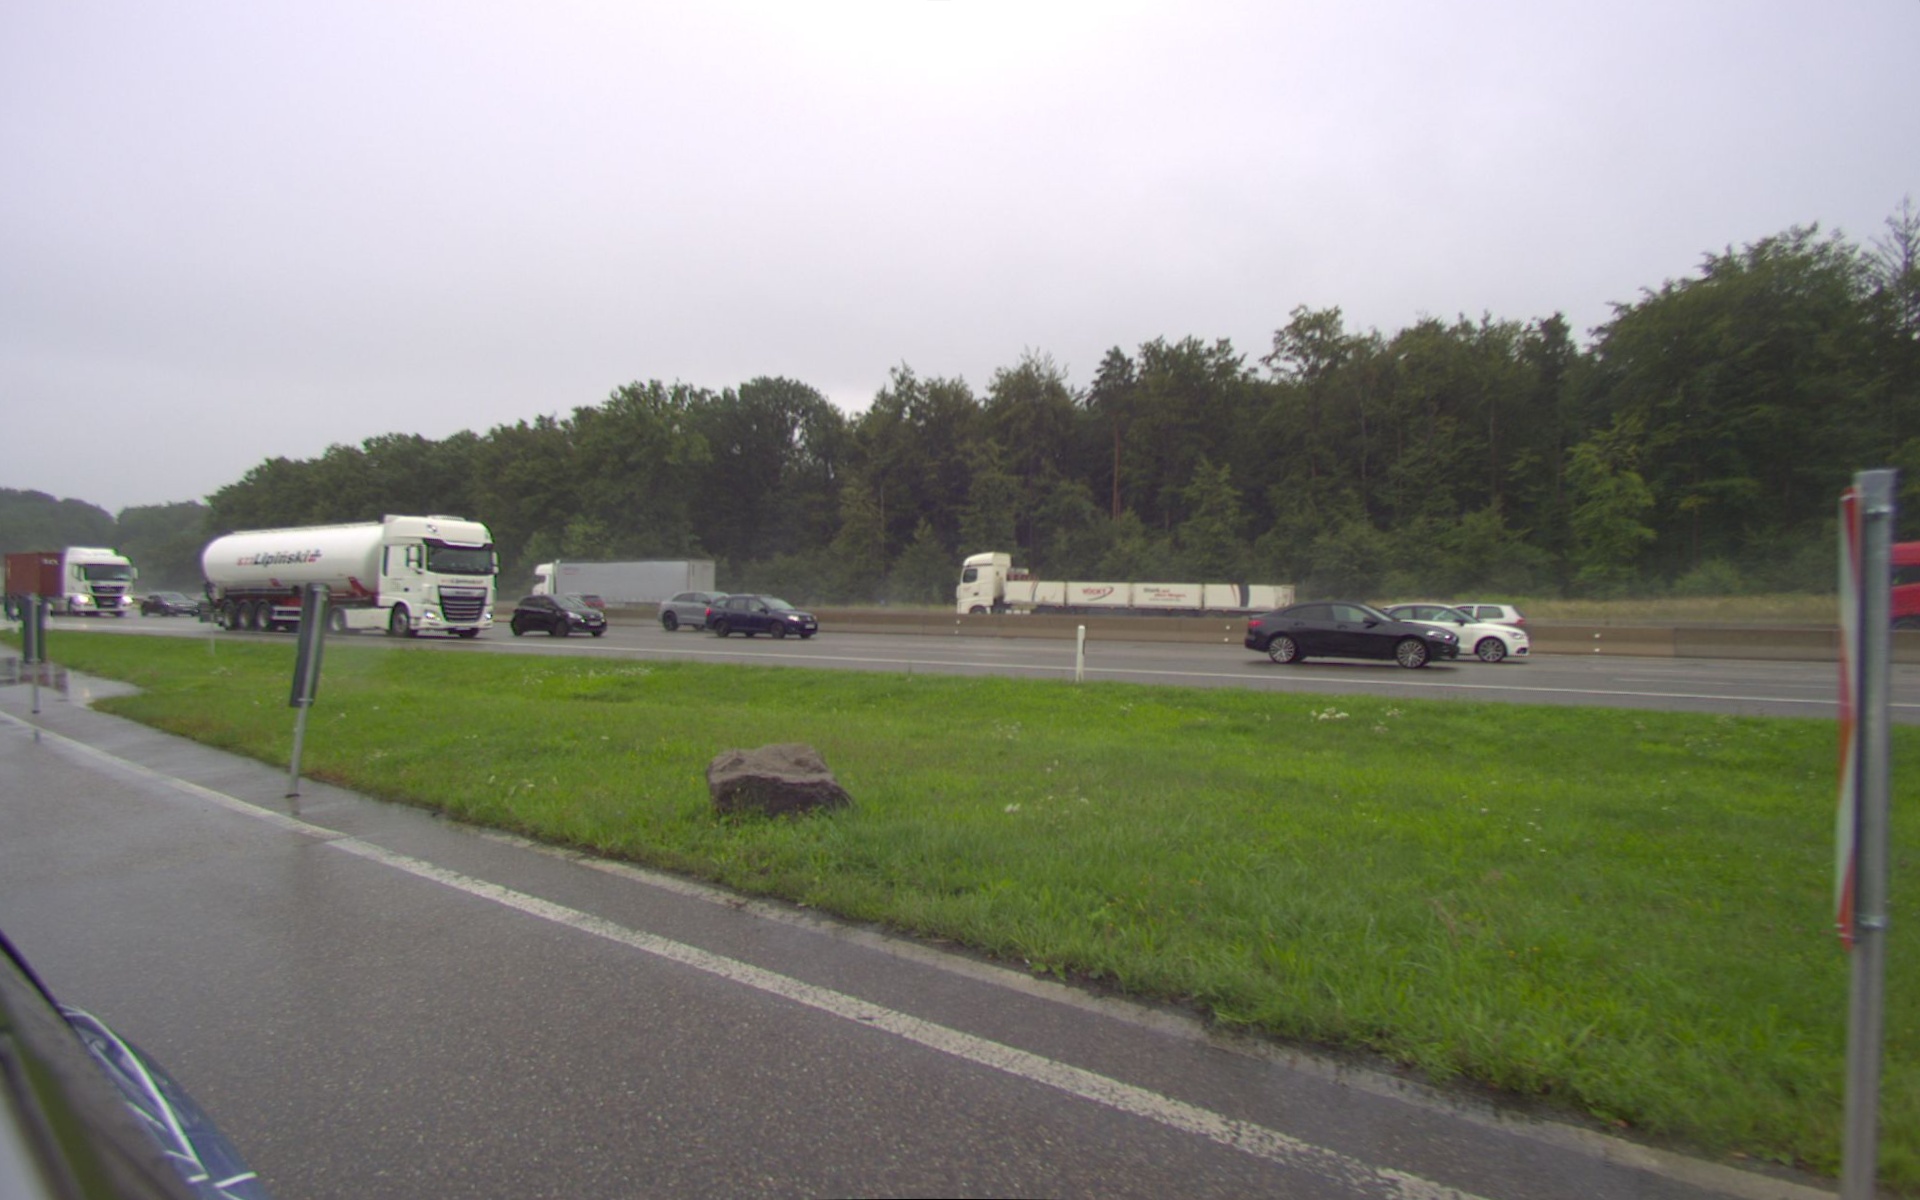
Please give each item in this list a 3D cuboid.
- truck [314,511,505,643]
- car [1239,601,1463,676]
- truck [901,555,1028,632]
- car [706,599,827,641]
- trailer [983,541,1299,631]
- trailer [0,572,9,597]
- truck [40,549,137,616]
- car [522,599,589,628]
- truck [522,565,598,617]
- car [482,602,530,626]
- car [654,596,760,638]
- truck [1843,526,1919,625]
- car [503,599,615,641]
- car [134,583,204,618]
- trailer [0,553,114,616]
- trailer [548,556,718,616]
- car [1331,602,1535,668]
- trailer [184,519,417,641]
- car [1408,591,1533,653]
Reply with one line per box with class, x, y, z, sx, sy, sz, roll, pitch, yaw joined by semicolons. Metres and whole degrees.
truck;-18.487;-0.712;33.879;6.484;4.038;2.730;0;0;31
car;8.685;0.779;22.538;4.482;1.492;1.868;1;0;29
truck;0.216;-0.327;52.525;5.968;3.697;2.605;-2;2;30
car;-6.928;0.694;36.088;4.109;1.425;1.805;-1;-1;31
trailer;8.169;-0.529;47.850;14.614;3.707;2.597;-2;2;30
trailer;-144.705;-2.301;150.001;13.453;3.523;2.626;0;0;35
truck;-50.332;-1.034;58.459;5.308;3.683;2.669;0;3;32
car;-24.123;0.821;60.296;3.706;1.374;1.633;-4;4;29
truck;-29.828;-0.670;75.445;4.744;3.559;2.696;-2;3;31
car;-32.607;1.010;72.689;3.267;1.341;1.400;-5;3;30
car;-10.715;0.680;42.776;4.389;1.681;1.805;0;-1;31
truck;35.604;-0.921;36.571;5.147;3.535;2.176;0;3;30
car;-14.218;0.677;35.850;3.990;1.383;1.803;0;0;35
car;-47.399;0.031;60.618;4.098;2.029;1.979;0;1;31
trailer;-57.369;-1.011;62.934;15.077;3.530;2.663;1;3;32
trailer;-23.316;-0.885;71.545;14.006;3.564;2.706;-2;3;31
car;11.864;0.814;25.461;4.487;1.492;1.866;1;0;32
trailer;-24.739;-0.639;37.676;11.001;4.056;2.742;0;-1;31
car;17.530;0.771;34.765;3.638;1.750;1.666;-5;3;30
